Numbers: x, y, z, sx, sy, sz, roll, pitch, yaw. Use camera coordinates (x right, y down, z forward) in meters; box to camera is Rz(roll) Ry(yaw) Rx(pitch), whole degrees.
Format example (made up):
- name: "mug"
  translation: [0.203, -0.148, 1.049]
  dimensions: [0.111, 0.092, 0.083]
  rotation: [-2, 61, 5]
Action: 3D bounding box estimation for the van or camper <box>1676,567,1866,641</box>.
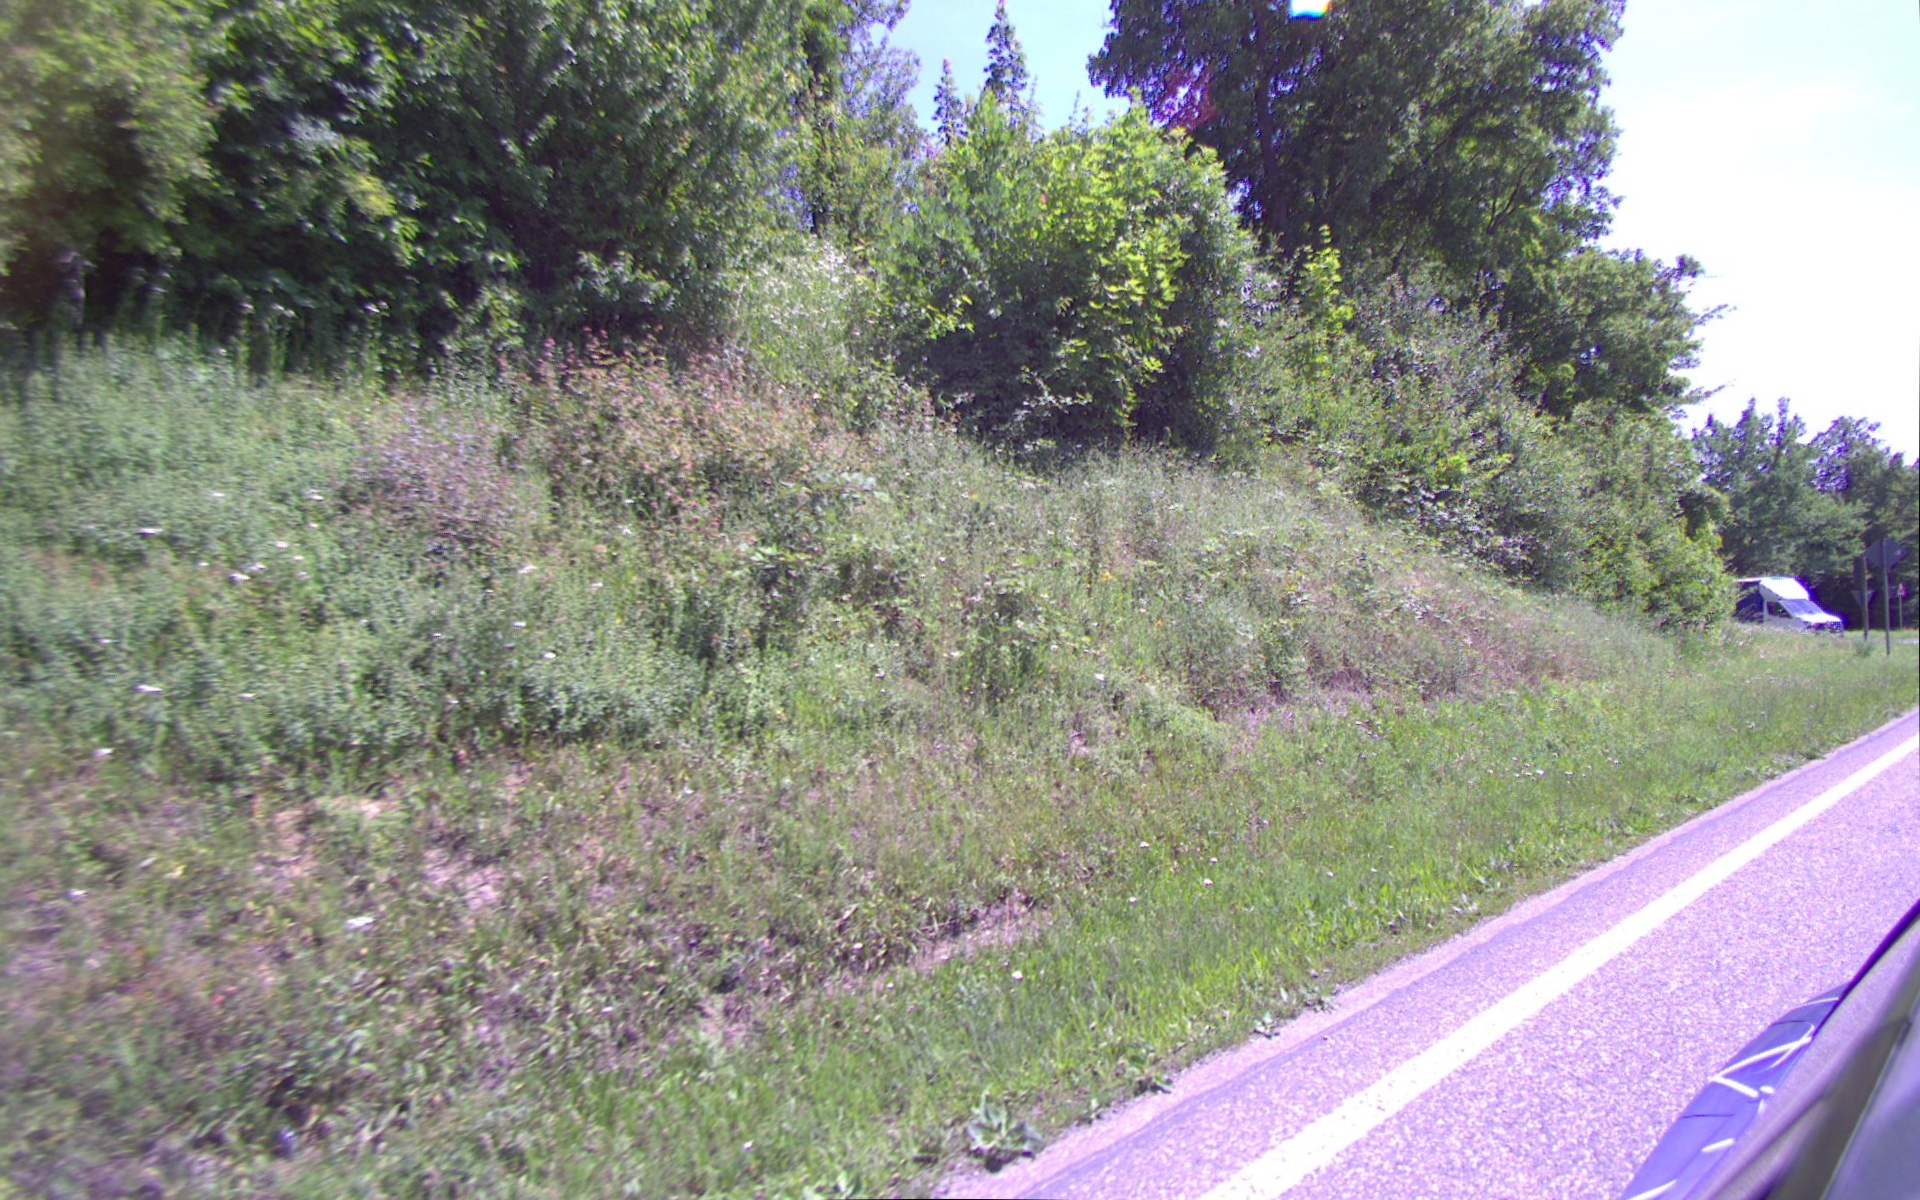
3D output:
- name: "van or camper"
  translation: [38.525, 0.292, 48.477]
  dimensions: [2.061, 3.254, 7.264]
  rotation: [-1, -2, -13]
